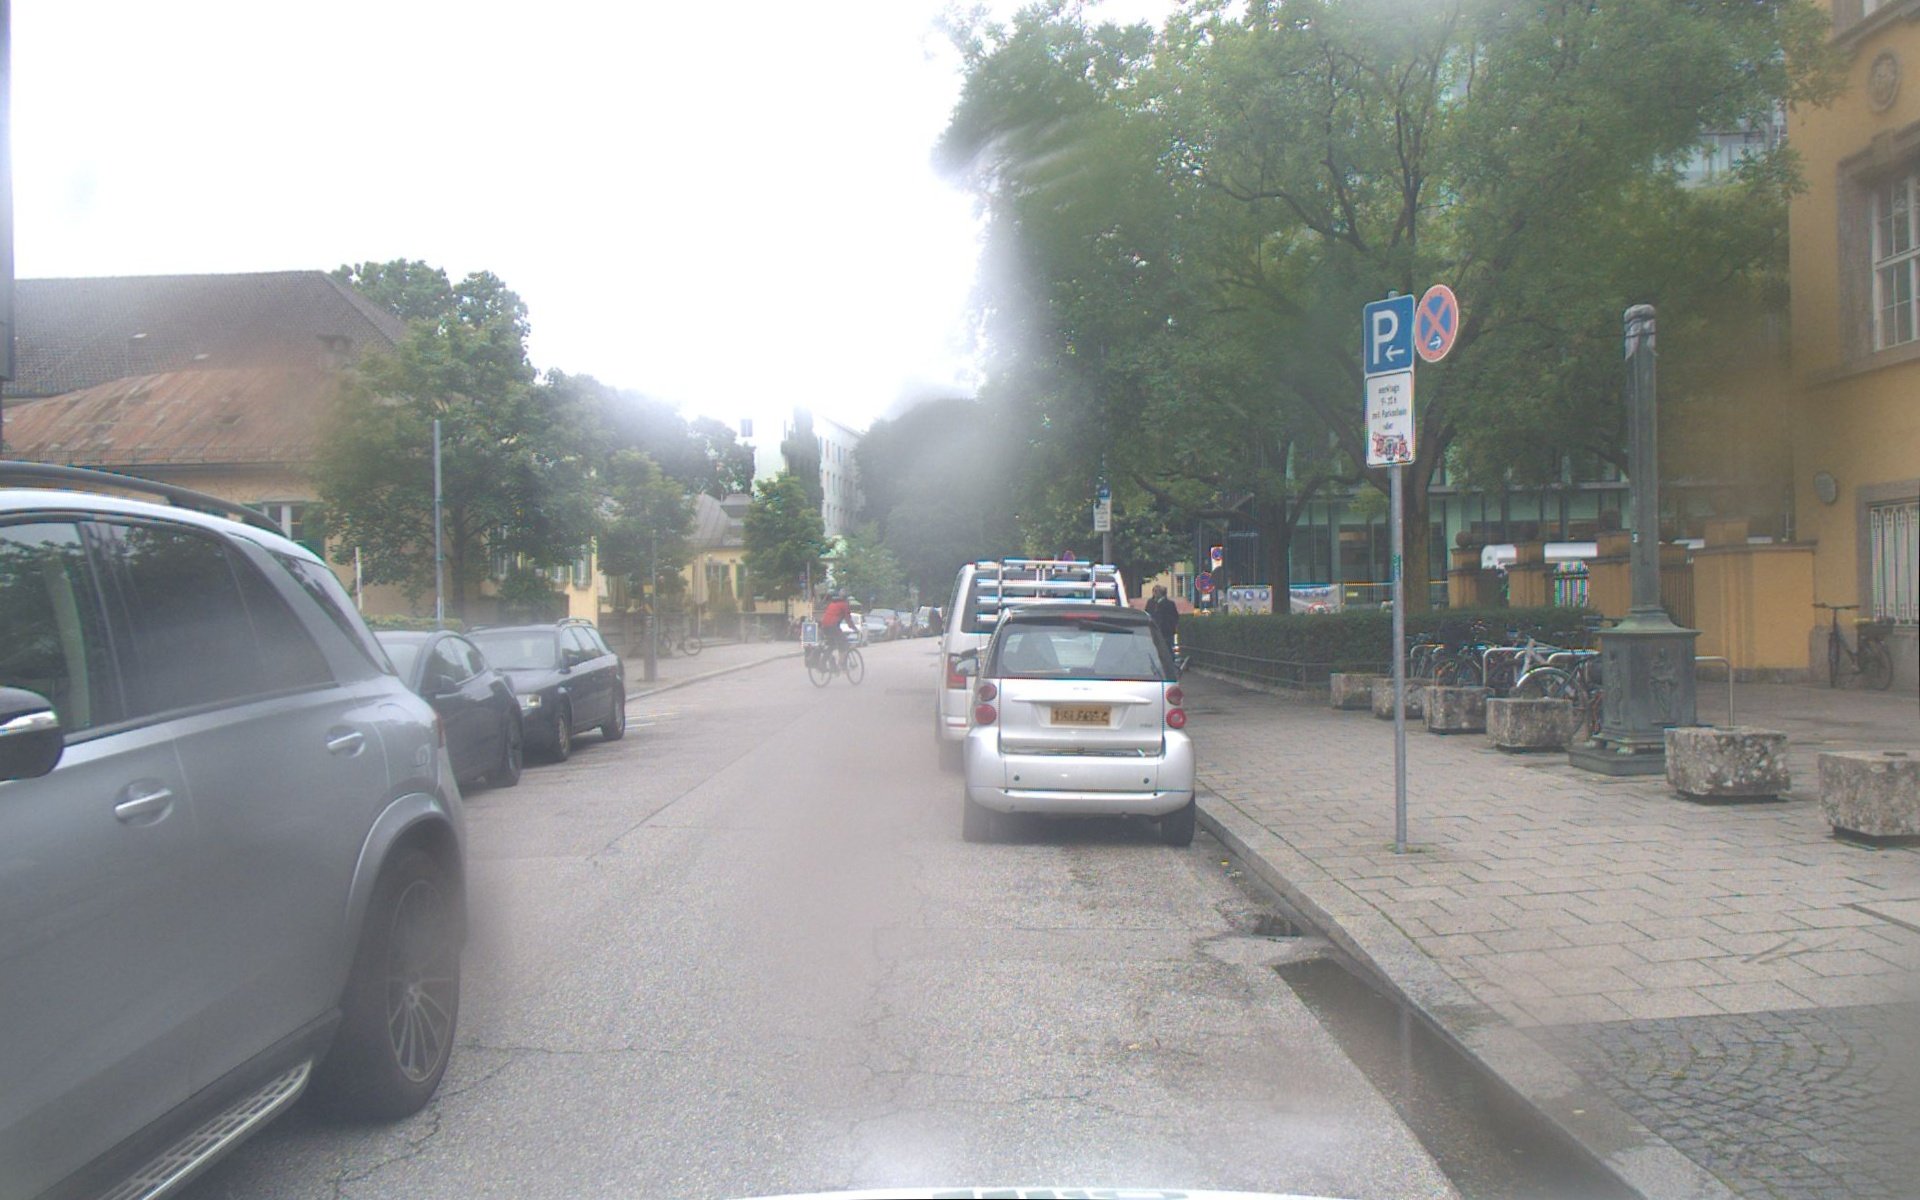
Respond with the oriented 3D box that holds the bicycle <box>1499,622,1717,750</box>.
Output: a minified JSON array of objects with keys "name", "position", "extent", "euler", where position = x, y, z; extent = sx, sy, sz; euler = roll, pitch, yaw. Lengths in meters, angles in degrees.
[{"name":"bicycle","position":[6.219,0.815,15.910],"extent":[1.893,1.133,0.471],"euler":[-2,0,-3]}]

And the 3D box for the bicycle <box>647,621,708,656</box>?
[{"name":"bicycle","position":[-9.460,1.282,55.403],"extent":[1.890,1.118,0.615],"euler":[1,-1,3]}]

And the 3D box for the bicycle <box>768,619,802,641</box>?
[{"name":"bicycle","position":[-8.686,1.488,82.026],"extent":[1.606,1.022,0.614],"euler":[-2,-1,-43]}]

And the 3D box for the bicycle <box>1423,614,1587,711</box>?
[{"name":"bicycle","position":[6.896,0.784,20.968],"extent":[1.892,1.133,0.471],"euler":[-2,0,1]}]

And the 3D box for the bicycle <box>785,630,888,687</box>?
[{"name":"bicycle","position":[-2.332,1.105,31.411],"extent":[0.612,1.022,2.128],"euler":[-3,-2,41]}]

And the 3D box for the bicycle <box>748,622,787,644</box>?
[{"name":"bicycle","position":[-8.677,1.481,74.525],"extent":[1.593,0.942,0.646],"euler":[-1,-2,-25]}]

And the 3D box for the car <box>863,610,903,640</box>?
[{"name":"car","position":[-4.281,1.403,92.607],"extent":[1.952,1.631,4.000],"euler":[-1,-1,1]}]

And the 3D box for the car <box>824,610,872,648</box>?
[{"name":"car","position":[-5.054,1.288,74.823],"extent":[1.697,1.609,3.789],"euler":[2,0,3]}]

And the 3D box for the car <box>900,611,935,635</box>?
[{"name":"car","position":[-2.811,1.490,110.352],"extent":[1.951,1.512,4.002],"euler":[-1,0,4]}]

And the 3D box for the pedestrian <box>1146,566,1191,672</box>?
[{"name":"pedestrian","position":[4.360,0.393,34.672],"extent":[0.727,2.172,1.055],"euler":[-2,-1,-1]}]

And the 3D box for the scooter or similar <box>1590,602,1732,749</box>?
[{"name":"scooter or similar","position":[6.186,0.659,14.620],"extent":[0.995,1.243,0.534],"euler":[-3,-1,45]}]

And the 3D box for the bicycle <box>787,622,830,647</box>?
[{"name":"bicycle","position":[-6.428,1.444,70.304],"extent":[0.610,1.022,2.134],"euler":[2,0,33]}]

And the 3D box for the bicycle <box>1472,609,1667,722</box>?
[{"name":"bicycle","position":[6.587,0.705,17.913],"extent":[1.891,1.133,0.471],"euler":[-2,0,2]}]

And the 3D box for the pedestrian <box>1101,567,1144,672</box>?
[{"name":"pedestrian","position":[3.442,0.408,35.006],"extent":[0.727,2.172,1.055],"euler":[-2,-1,-1]}]

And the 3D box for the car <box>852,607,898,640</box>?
[{"name":"car","position":[-4.444,1.237,87.416],"extent":[1.952,1.677,4.657],"euler":[-1,0,3]}]

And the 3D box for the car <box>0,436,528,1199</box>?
[{"name":"car","position":[-2.492,0.631,3.166],"extent":[1.983,1.719,4.678],"euler":[-2,0,1]}]

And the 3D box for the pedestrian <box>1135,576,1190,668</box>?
[{"name":"pedestrian","position":[4.403,0.473,35.883],"extent":[0.730,1.941,1.052],"euler":[-2,-1,35]}]

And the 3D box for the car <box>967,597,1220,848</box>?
[{"name":"car","position":[0.859,0.787,12.017],"extent":[1.572,1.573,2.933],"euler":[1,0,0]}]

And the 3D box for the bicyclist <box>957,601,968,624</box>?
[{"name":"bicyclist","position":[0.160,0.914,118.340],"extent":[0.728,1.603,0.977],"euler":[-1,0,0]}]

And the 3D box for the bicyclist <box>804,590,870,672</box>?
[{"name":"bicyclist","position":[-2.330,0.587,31.439],"extent":[0.661,1.524,1.088],"euler":[-3,-3,41]}]

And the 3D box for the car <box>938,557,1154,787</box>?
[{"name":"car","position":[0.719,0.645,17.118],"extent":[1.808,1.967,5.271],"euler":[2,0,-1]}]

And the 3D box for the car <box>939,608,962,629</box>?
[{"name":"car","position":[-0.815,1.548,141.702],"extent":[1.772,1.712,4.001],"euler":[-1,0,2]}]

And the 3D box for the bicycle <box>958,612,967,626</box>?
[{"name":"bicycle","position":[0.169,1.350,118.421],"extent":[0.609,1.022,2.139],"euler":[-1,0,-1]}]

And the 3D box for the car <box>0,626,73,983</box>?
[{"name":"car","position":[-4.922,0.898,5.331],"extent":[1.704,1.486,4.237],"euler":[-3,0,1]}]

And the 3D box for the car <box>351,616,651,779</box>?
[{"name":"car","position":[-5.022,0.991,18.889],"extent":[1.953,1.517,4.883],"euler":[-3,0,1]}]

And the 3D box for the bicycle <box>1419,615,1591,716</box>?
[{"name":"bicycle","position":[6.637,0.794,20.176],"extent":[1.891,1.133,0.471],"euler":[-2,0,2]}]

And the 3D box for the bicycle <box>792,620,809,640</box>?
[{"name":"bicycle","position":[-8.336,1.558,86.531],"extent":[0.608,1.022,1.619],"euler":[-1,-2,6]}]

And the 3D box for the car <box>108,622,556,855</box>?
[{"name":"car","position":[-4.839,0.968,13.629],"extent":[1.884,1.464,4.916],"euler":[-3,-1,-2]}]

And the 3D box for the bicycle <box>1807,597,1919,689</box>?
[{"name":"bicycle","position":[12.179,0.552,22.252],"extent":[0.531,1.174,1.901],"euler":[-2,0,-1]}]
